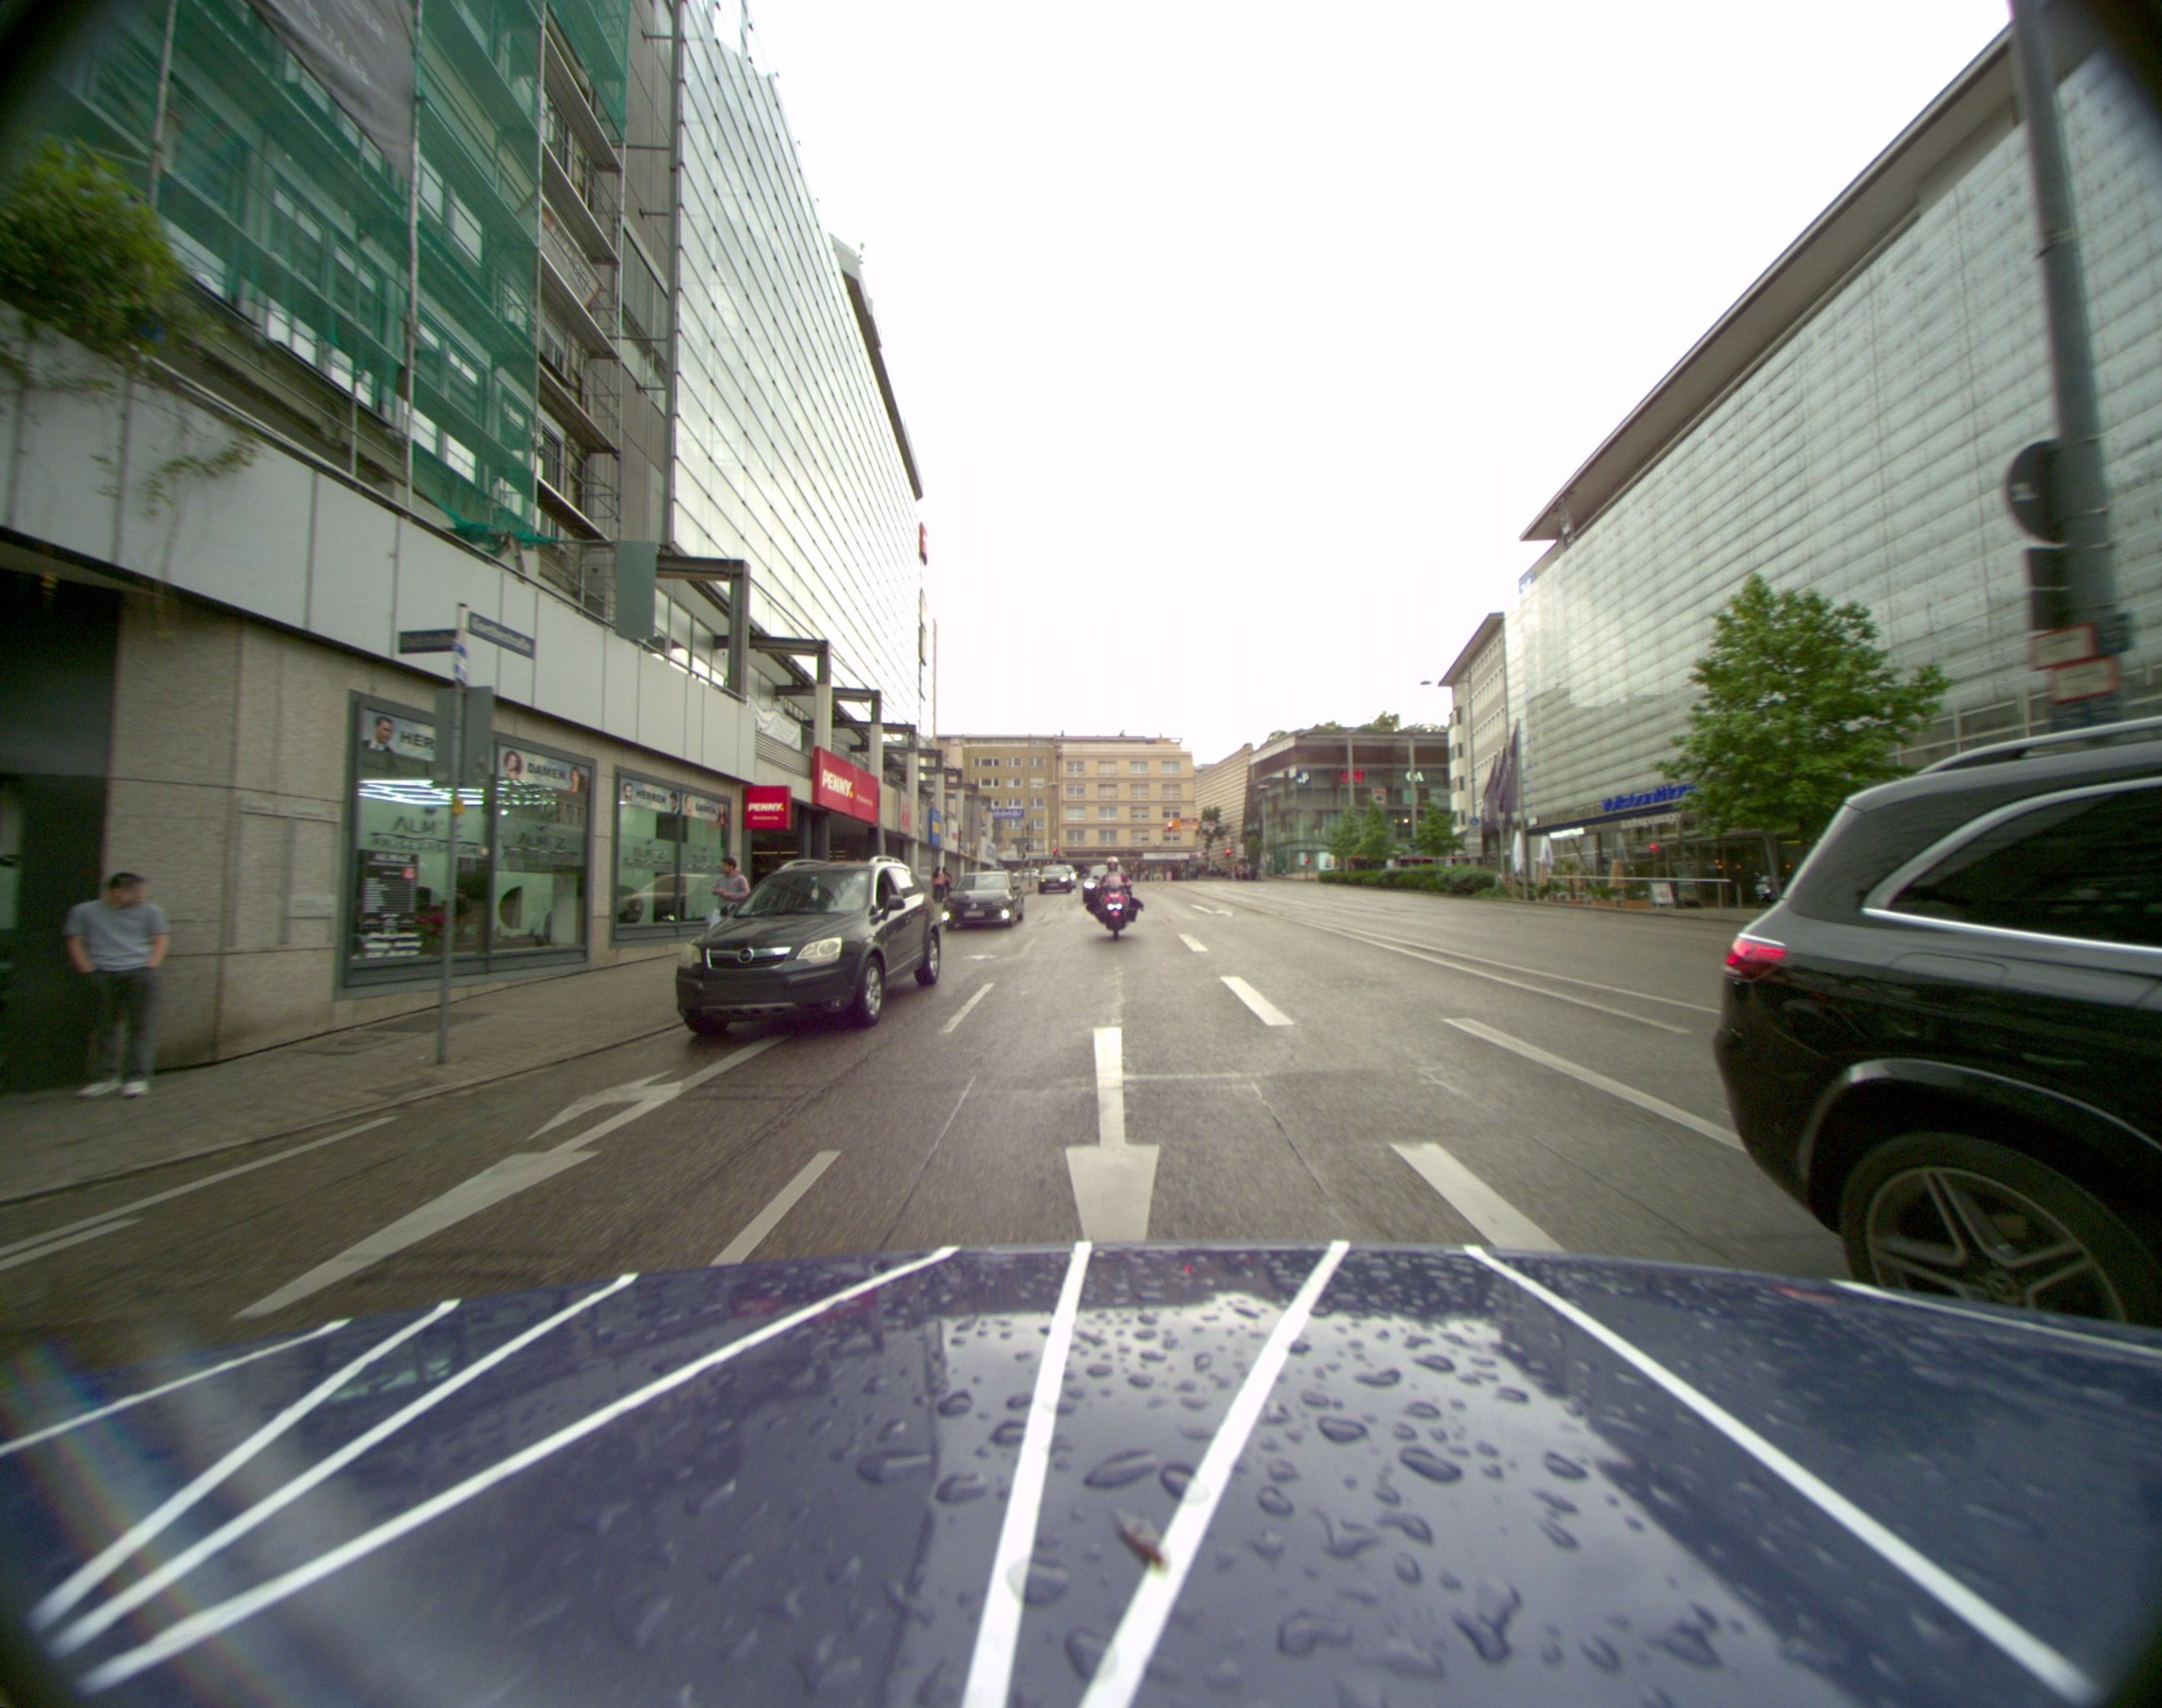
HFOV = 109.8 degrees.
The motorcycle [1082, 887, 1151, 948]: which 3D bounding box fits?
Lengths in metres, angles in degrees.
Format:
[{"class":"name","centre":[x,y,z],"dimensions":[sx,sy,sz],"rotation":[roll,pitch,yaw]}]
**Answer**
[{"class":"motorcycle","centre":[0.735,1.261,15.587],"dimensions":[1.312,1.128,2.186],"rotation":[1,-2,3]}]

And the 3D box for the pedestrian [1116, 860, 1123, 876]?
[{"class":"pedestrian","centre":[3.955,1.442,77.995],"dimensions":[0.693,1.681,0.759],"rotation":[2,0,3]}]

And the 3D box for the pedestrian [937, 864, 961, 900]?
[{"class":"pedestrian","centre":[-5.462,1.146,31.447],"dimensions":[0.773,1.458,0.704],"rotation":[0,0,9]}]

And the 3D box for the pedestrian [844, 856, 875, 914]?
[{"class":"pedestrian","centre":[-6.586,0.912,22.660],"dimensions":[0.670,1.705,0.818],"rotation":[0,0,0]}]

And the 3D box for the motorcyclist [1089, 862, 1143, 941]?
[{"class":"motorcyclist","centre":[0.726,0.969,15.790],"dimensions":[1.092,1.595,0.954],"rotation":[0,-1,2]}]

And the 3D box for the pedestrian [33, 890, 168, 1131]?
[{"class":"pedestrian","centre":[-7.323,1.108,5.704],"dimensions":[0.641,1.640,0.563],"rotation":[1,1,42]}]

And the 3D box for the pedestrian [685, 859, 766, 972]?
[{"class":"pedestrian","centre":[-5.609,0.947,12.030],"dimensions":[0.837,1.712,0.830],"rotation":[0,0,9]}]

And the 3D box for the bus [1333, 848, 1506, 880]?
[{"class":"bus","centre":[38.367,1.161,86.430],"dimensions":[18.465,3.300,2.930],"rotation":[1,-1,0]}]

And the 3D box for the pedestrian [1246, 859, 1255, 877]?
[{"class":"pedestrian","centre":[16.395,1.353,73.503],"dimensions":[0.617,1.768,0.832],"rotation":[0,0,-8]}]

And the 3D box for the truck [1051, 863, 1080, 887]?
[{"class":"truck","centre":[-1.033,1.450,52.991],"dimensions":[1.854,1.532,4.001],"rotation":[-1,-1,1]}]

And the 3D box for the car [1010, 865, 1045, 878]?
[{"class":"car","centre":[-6.684,2.236,95.472],"dimensions":[4.398,1.541,1.853],"rotation":[0,0,-3]}]

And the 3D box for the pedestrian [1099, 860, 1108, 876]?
[{"class":"pedestrian","centre":[2.220,1.398,75.976],"dimensions":[0.854,1.559,0.715],"rotation":[1,0,3]}]

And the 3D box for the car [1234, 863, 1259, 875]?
[{"class":"car","centre":[23.246,2.087,106.854],"dimensions":[1.806,1.537,4.292],"rotation":[0,0,-12]}]

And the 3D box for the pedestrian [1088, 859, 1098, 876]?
[{"class":"pedestrian","centre":[1.235,1.352,77.028],"dimensions":[0.914,1.662,0.982],"rotation":[0,-1,4]}]

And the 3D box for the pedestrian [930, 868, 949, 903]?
[{"class":"pedestrian","centre":[-5.598,1.226,30.085],"dimensions":[0.639,1.368,0.704],"rotation":[0,0,-4]}]

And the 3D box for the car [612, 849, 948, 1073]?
[{"class":"car","centre":[-2.974,0.980,8.687],"dimensions":[1.912,1.774,4.303],"rotation":[-5,-2,2]}]

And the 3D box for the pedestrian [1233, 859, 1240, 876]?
[{"class":"pedestrian","centre":[15.227,1.356,74.568],"dimensions":[0.638,1.679,0.784],"rotation":[0,0,7]}]

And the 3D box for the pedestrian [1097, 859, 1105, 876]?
[{"class":"pedestrian","centre":[2.055,1.378,78.665],"dimensions":[0.706,1.701,0.786],"rotation":[1,0,3]}]

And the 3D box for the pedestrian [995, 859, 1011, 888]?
[{"class":"pedestrian","centre":[-4.749,1.190,46.476],"dimensions":[0.837,1.712,0.618],"rotation":[0,0,9]}]

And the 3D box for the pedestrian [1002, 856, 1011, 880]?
[{"class":"pedestrian","centre":[-5.654,1.078,57.988],"dimensions":[0.600,1.829,1.012],"rotation":[0,-1,-2]}]

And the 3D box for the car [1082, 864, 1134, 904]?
[{"class":"car","centre":[1.107,1.239,31.500],"dimensions":[1.998,1.482,4.737],"rotation":[0,-2,2]}]

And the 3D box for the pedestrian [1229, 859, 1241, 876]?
[{"class":"pedestrian","centre":[15.623,1.388,77.189],"dimensions":[0.853,1.777,1.012],"rotation":[0,-1,-8]}]

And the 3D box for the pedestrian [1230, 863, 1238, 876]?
[{"class":"pedestrian","centre":[15.272,1.542,75.800],"dimensions":[0.588,1.331,0.631],"rotation":[0,0,-8]}]

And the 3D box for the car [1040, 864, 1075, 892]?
[{"class":"car","centre":[-1.310,1.382,43.730],"dimensions":[1.871,1.538,4.104],"rotation":[0,-1,-1]}]

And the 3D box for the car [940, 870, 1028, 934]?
[{"class":"car","centre":[-2.511,1.247,20.523],"dimensions":[1.742,1.422,3.881],"rotation":[-5,-2,0]}]

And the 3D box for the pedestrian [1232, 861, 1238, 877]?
[{"class":"pedestrian","centre":[15.231,1.490,75.234],"dimensions":[0.501,1.658,0.571],"rotation":[0,-1,5]}]

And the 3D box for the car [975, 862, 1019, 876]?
[{"class":"car","centre":[-9.209,1.663,83.634],"dimensions":[4.629,1.407,1.798],"rotation":[0,-2,-3]}]

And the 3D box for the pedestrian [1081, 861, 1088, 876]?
[{"class":"pedestrian","centre":[0.356,1.424,76.475],"dimensions":[0.560,1.479,0.707],"rotation":[1,0,3]}]

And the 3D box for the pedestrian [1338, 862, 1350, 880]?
[{"class":"pedestrian","centre":[25.887,1.630,74.788],"dimensions":[0.800,1.765,1.025],"rotation":[1,0,-8]}]

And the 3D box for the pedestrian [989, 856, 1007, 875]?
[{"class":"pedestrian","centre":[-6.994,0.959,63.991],"dimensions":[1.061,1.522,1.024],"rotation":[4,-1,-37]}]

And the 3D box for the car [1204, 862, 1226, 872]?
[{"class":"car","centre":[21.083,2.000,119.480],"dimensions":[1.899,1.537,4.377],"rotation":[-2,0,-12]}]
